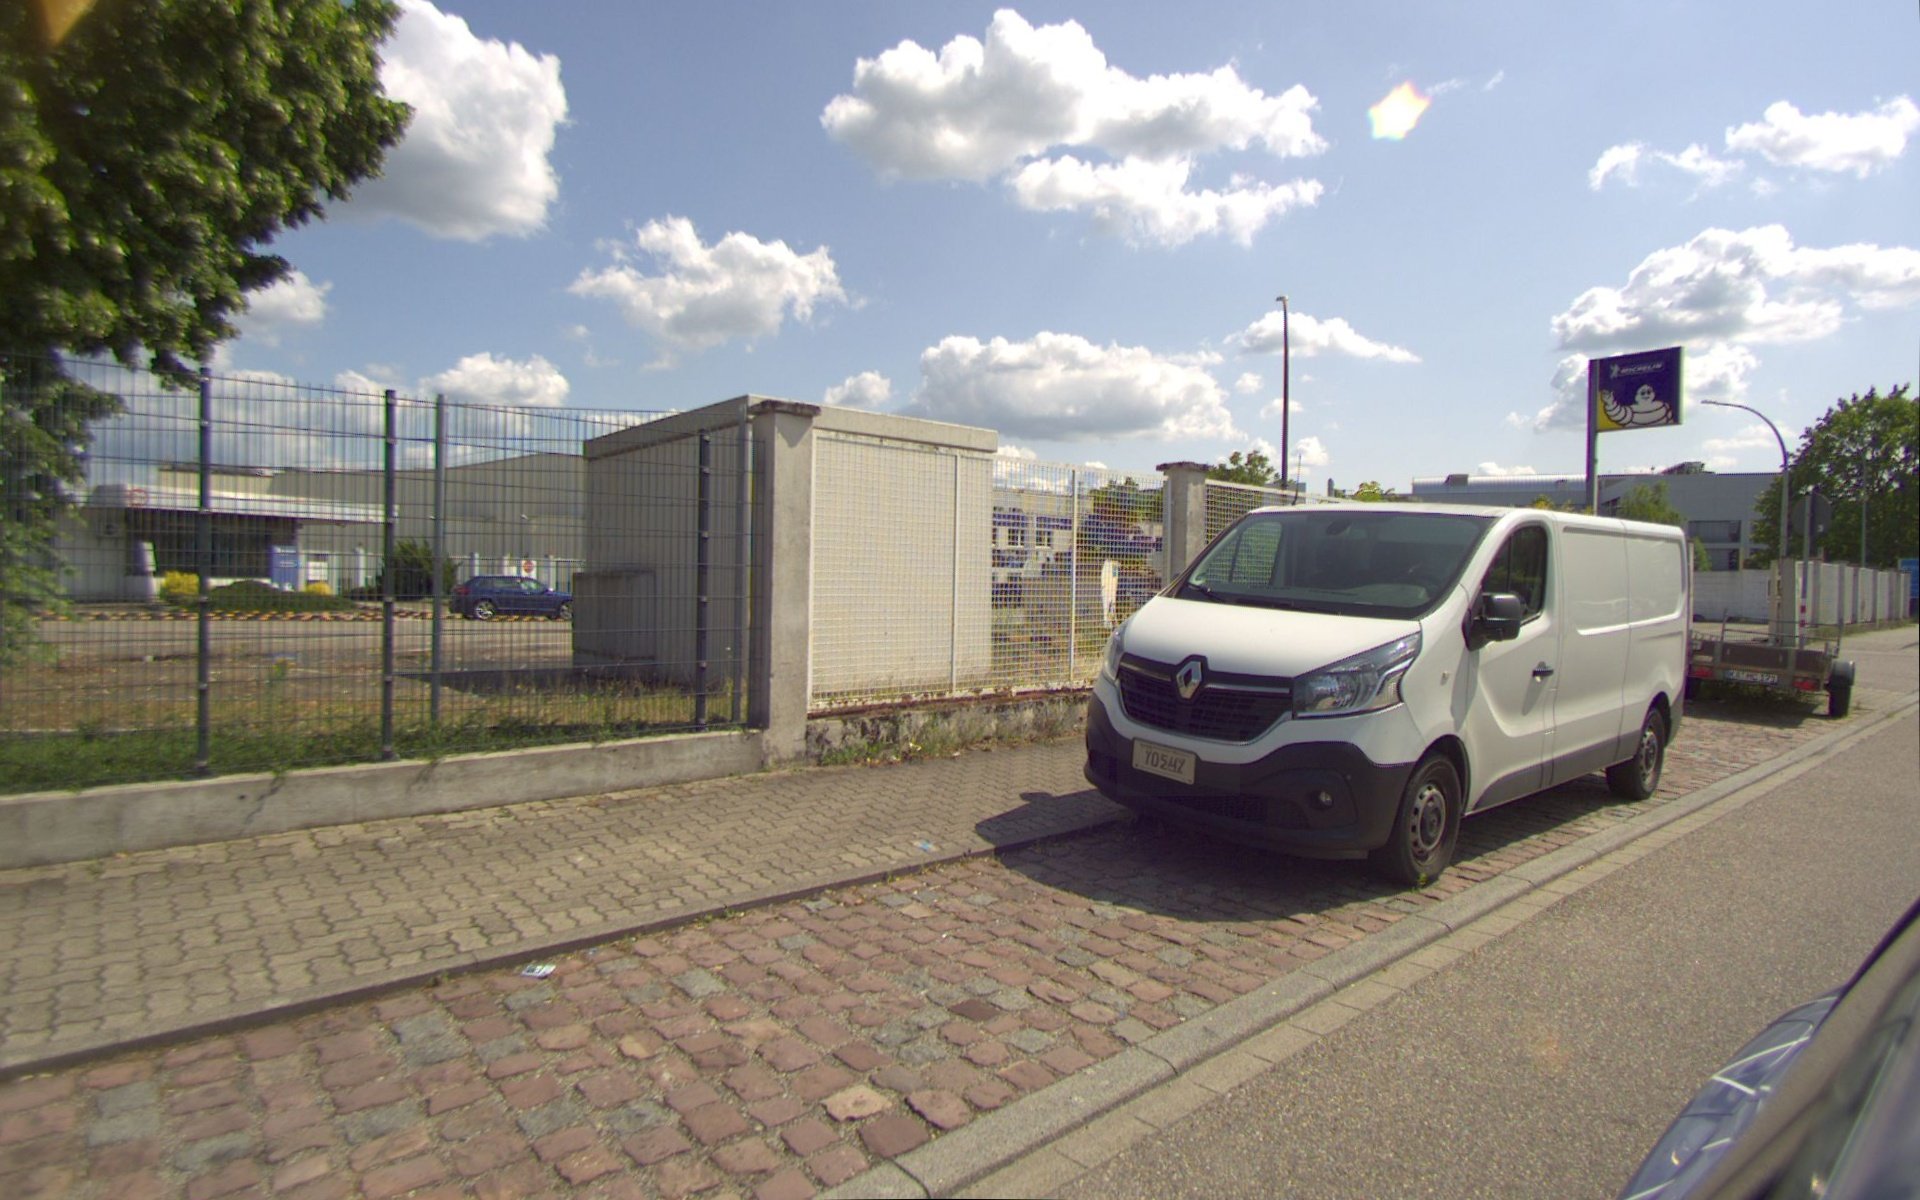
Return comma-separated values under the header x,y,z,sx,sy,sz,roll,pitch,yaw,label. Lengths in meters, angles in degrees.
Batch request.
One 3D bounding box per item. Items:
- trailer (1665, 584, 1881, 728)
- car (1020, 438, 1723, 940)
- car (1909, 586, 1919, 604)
x,y,z,sx,sy,sz,roll,pitch,yaw,label
10.809,0.586,13.331,1.750,1.434,4.478,5,5,44,trailer
3.080,0.307,6.688,5.551,2.038,1.997,-1,2,-41,car
92.484,-0.477,96.564,1.853,1.703,4.657,3,2,32,car
